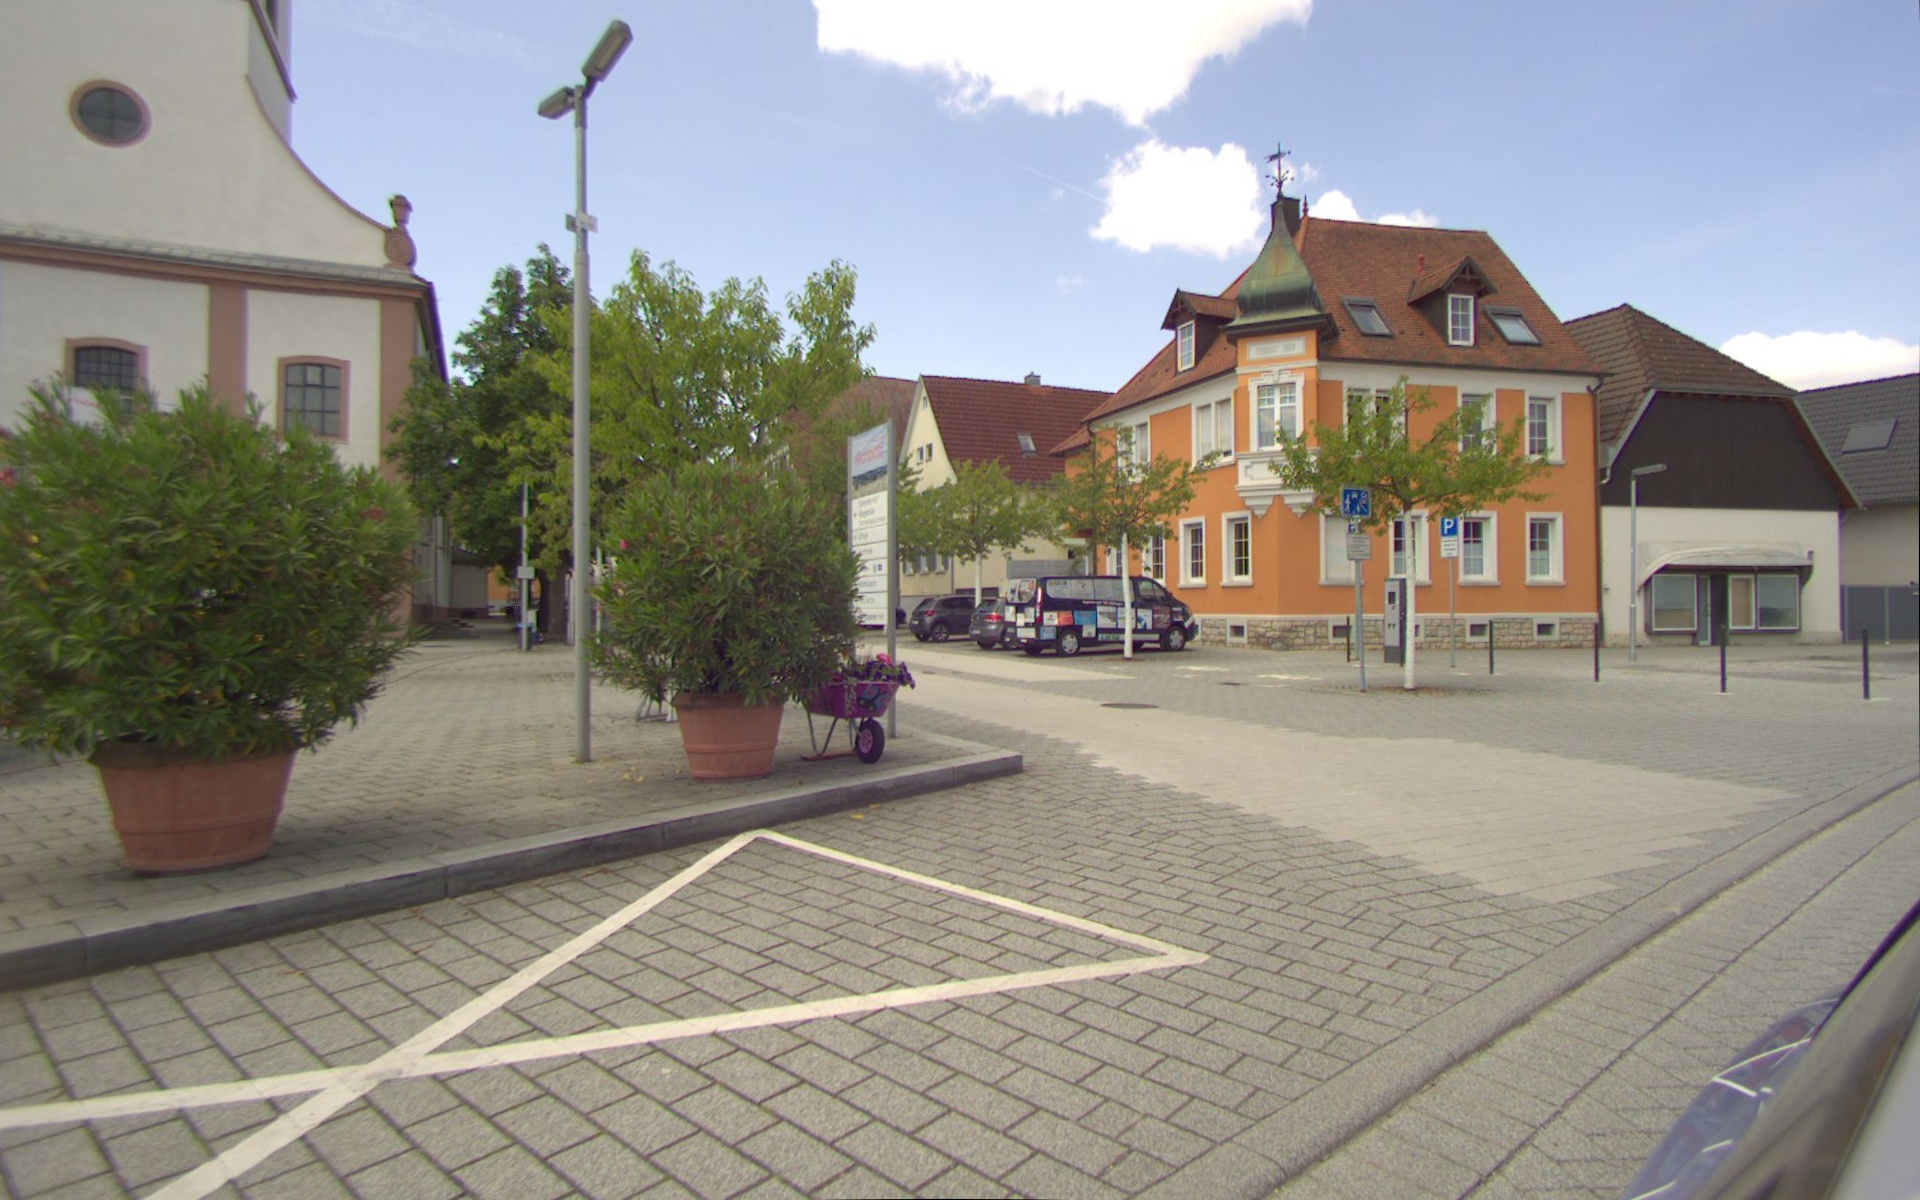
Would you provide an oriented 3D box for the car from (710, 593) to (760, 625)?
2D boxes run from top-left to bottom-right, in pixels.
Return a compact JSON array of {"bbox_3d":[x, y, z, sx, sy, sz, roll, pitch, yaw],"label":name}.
[{"bbox_3d":[-12.670,0.504,56.767,1.958,1.693,5.505,0,0,-21],"label":"car"}]

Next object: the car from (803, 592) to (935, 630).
[{"bbox_3d":[-3.964,0.459,44.175,5.381,1.592,2.003,0,-1,-26],"label":"car"}]

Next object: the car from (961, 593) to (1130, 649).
[{"bbox_3d":[2.456,0.556,28.866,4.625,1.503,1.627,0,-1,-26],"label":"car"}]

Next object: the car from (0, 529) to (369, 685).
[{"bbox_3d":[-14.509,0.112,17.675,6.831,2.509,2.654,0,0,0],"label":"car"}]

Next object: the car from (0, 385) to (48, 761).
[{"bbox_3d":[-10.624,-0.170,6.243,6.972,3.001,2.763,-1,-1,-30],"label":"car"}]

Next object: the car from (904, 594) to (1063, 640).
[{"bbox_3d":[0.822,0.544,34.211,5.020,1.460,2.003,0,-1,-26],"label":"car"}]

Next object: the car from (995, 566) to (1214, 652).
[{"bbox_3d":[3.746,0.215,26.029,5.381,2.039,2.003,0,-1,-26],"label":"car"}]

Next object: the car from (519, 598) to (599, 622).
[{"bbox_3d":[-20.989,0.521,53.002,3.774,1.245,1.733,0,-1,-27],"label":"car"}]

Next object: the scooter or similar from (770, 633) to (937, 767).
[{"bbox_3d":[-0.831,0.720,7.758,0.801,0.892,1.144,0,0,-37],"label":"scooter or similar"}]
